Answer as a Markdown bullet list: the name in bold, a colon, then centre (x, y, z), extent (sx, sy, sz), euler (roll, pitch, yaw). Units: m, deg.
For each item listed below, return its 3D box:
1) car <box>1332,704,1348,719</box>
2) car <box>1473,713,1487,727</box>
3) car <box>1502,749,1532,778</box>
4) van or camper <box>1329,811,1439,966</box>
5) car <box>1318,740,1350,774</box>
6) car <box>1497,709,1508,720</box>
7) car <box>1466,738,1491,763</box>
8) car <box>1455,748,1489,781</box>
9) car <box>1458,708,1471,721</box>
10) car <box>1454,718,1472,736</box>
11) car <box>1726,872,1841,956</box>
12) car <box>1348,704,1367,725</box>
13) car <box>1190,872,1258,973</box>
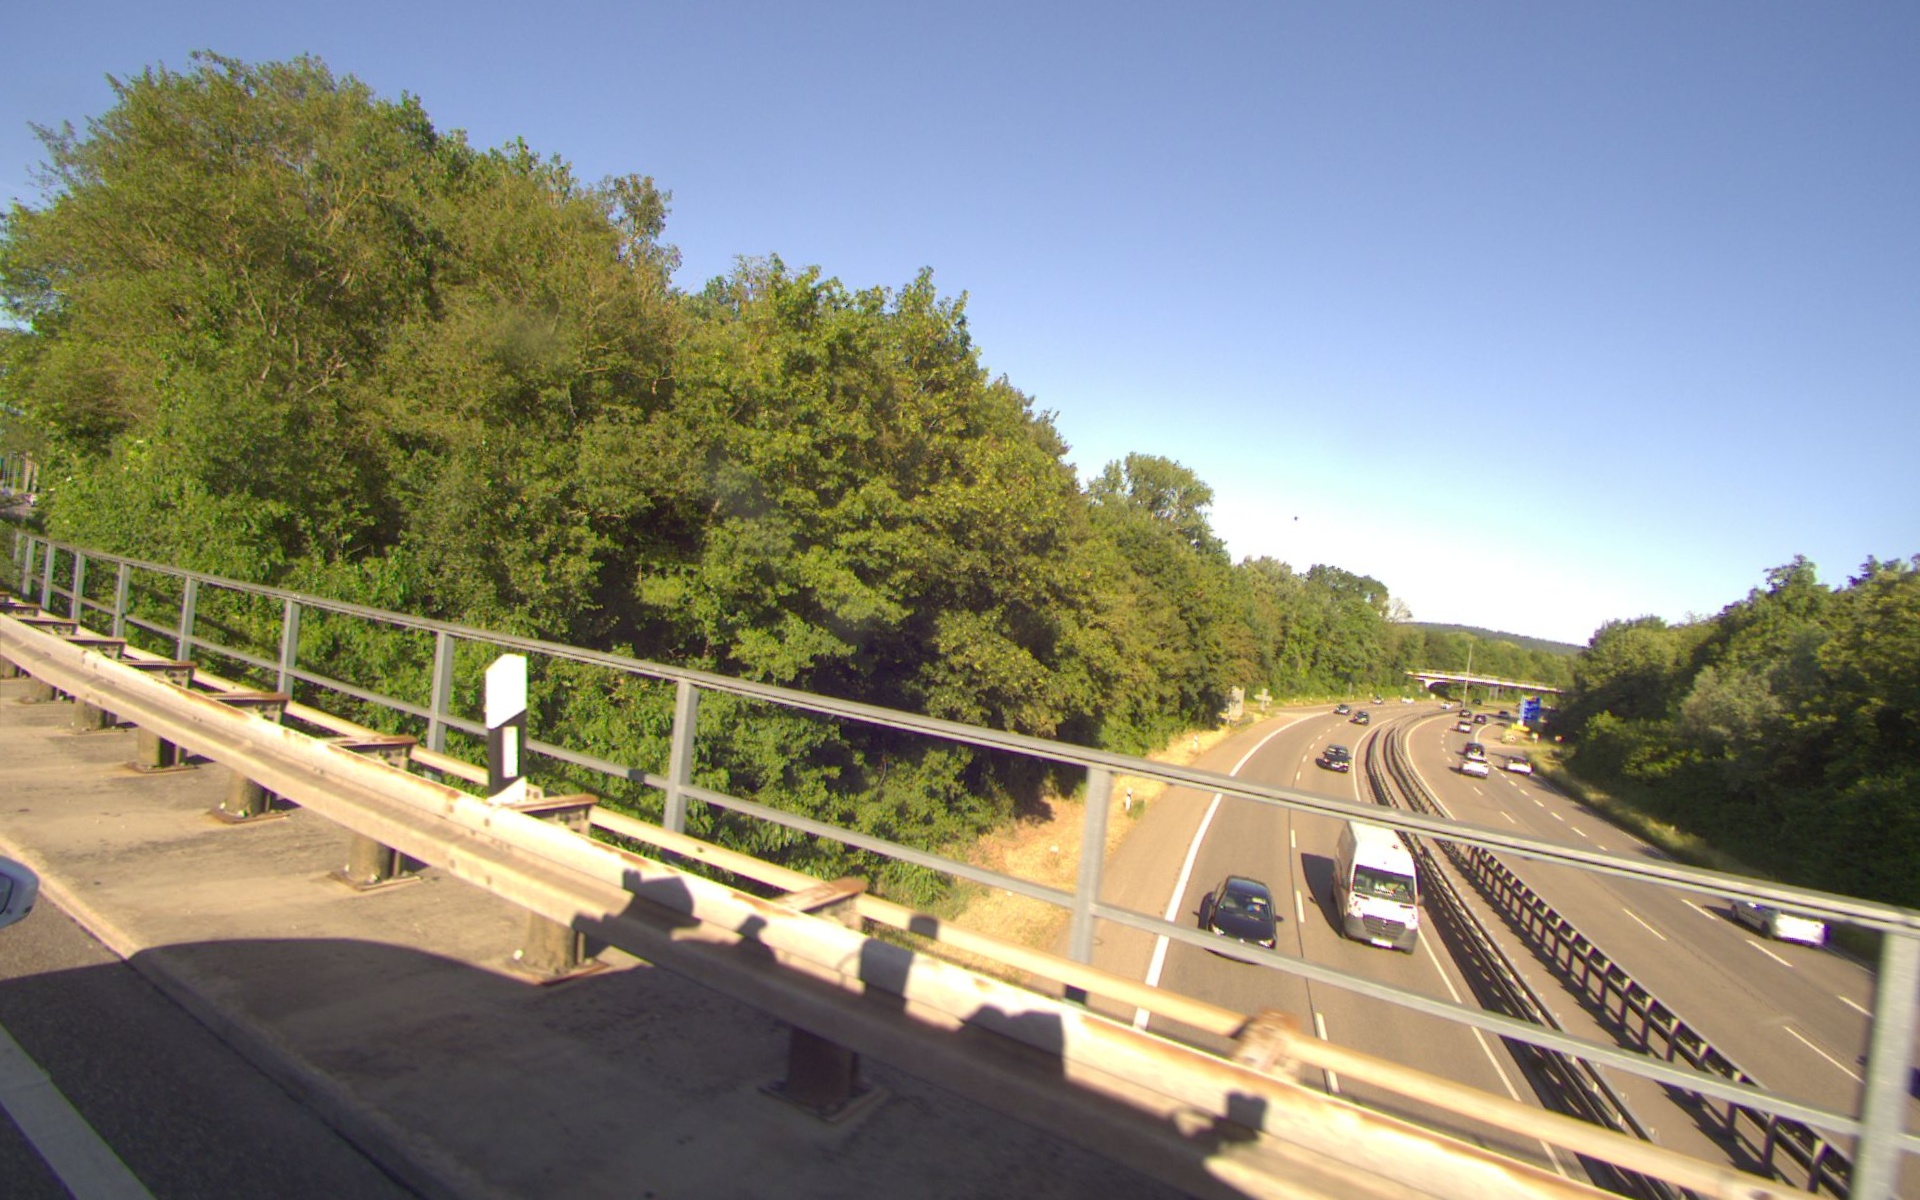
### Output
- **car**: centre (54.148, 15.841, 143.440), extent (1.690, 1.672, 3.701), euler (9, 2, 24)
- **car**: centre (87.026, 20.048, 168.383), extent (1.729, 1.860, 3.996), euler (8, -1, 28)
- **car**: centre (49.034, 14.374, 88.667), extent (1.728, 1.859, 3.876), euler (9, 0, 24)
- **van or camper**: centre (12.925, 8.655, 31.126), extent (2.179, 2.678, 6.827), euler (10, 1, 18)
- **car**: centre (27.090, 11.327, 72.948), extent (1.866, 1.816, 3.904), euler (9, -1, 20)
- **car**: centre (110.096, 23.160, 204.047), extent (1.729, 1.860, 3.995), euler (8, 0, 28)
- **car**: centre (50.467, 14.622, 97.955), extent (1.728, 1.859, 3.999), euler (9, 0, 24)
- **car**: centre (40.525, 12.968, 79.652), extent (1.856, 1.860, 3.835), euler (9, 1, 23)
- **car**: centre (91.233, 20.647, 181.932), extent (1.729, 1.860, 3.994), euler (8, 0, 28)
- **car**: centre (68.953, 17.395, 137.906), extent (1.728, 1.859, 3.999), euler (9, 0, 24)
- **car**: centre (29.971, 11.398, 36.744), extent (1.710, 1.682, 3.871), euler (9, 1, 17)
- **car**: centre (50.916, 14.666, 128.923), extent (1.963, 2.039, 3.998), euler (9, 2, 20)
- **car**: centre (6.934, 8.304, 26.215), extent (1.389, 1.357, 3.583), euler (9, 1, 17)
